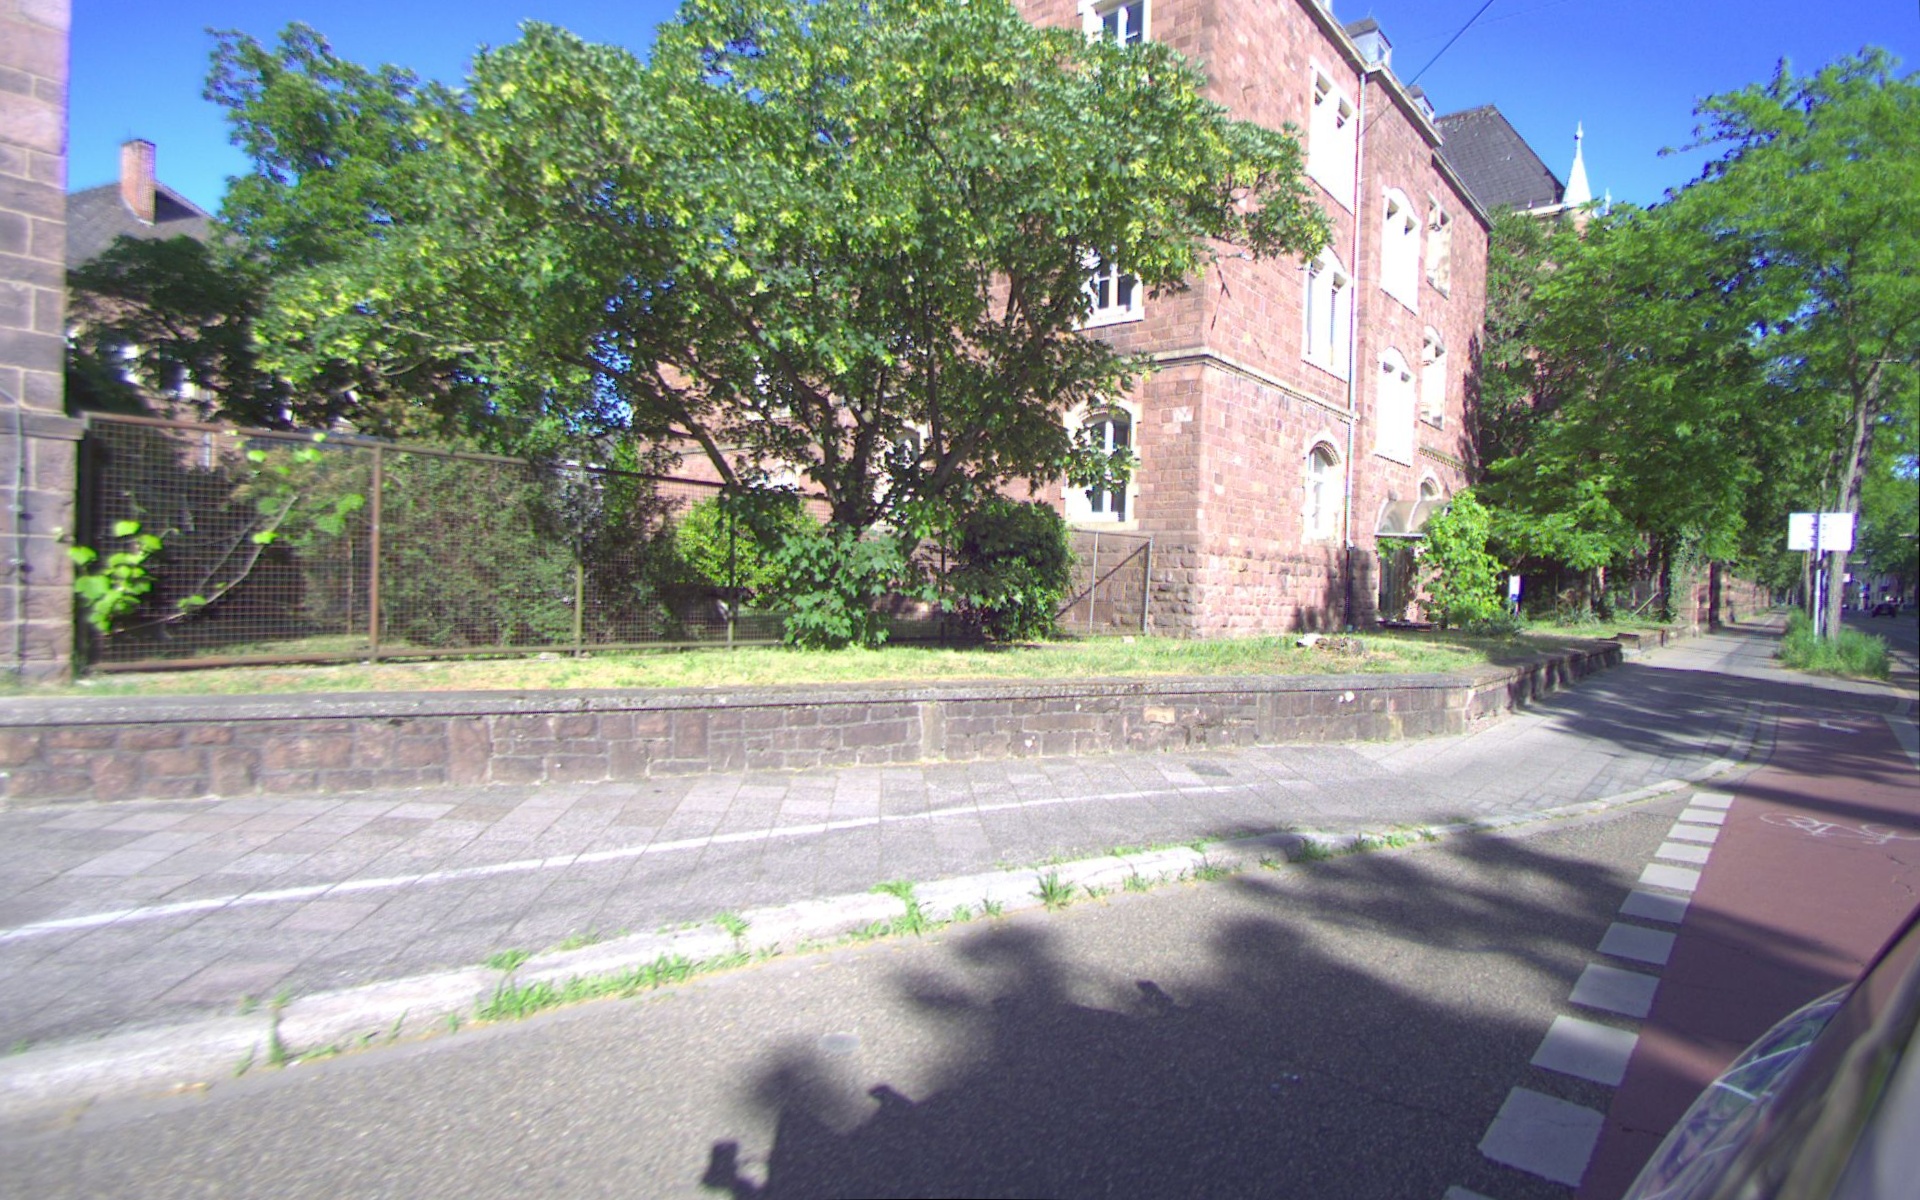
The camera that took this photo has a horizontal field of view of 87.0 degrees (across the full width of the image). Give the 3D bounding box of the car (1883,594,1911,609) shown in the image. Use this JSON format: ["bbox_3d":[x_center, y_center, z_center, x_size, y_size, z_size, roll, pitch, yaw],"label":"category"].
[{"bbox_3d":[95.041,0.120,102.649,1.755,1.457,4.460,2,1,39],"label":"car"}]
